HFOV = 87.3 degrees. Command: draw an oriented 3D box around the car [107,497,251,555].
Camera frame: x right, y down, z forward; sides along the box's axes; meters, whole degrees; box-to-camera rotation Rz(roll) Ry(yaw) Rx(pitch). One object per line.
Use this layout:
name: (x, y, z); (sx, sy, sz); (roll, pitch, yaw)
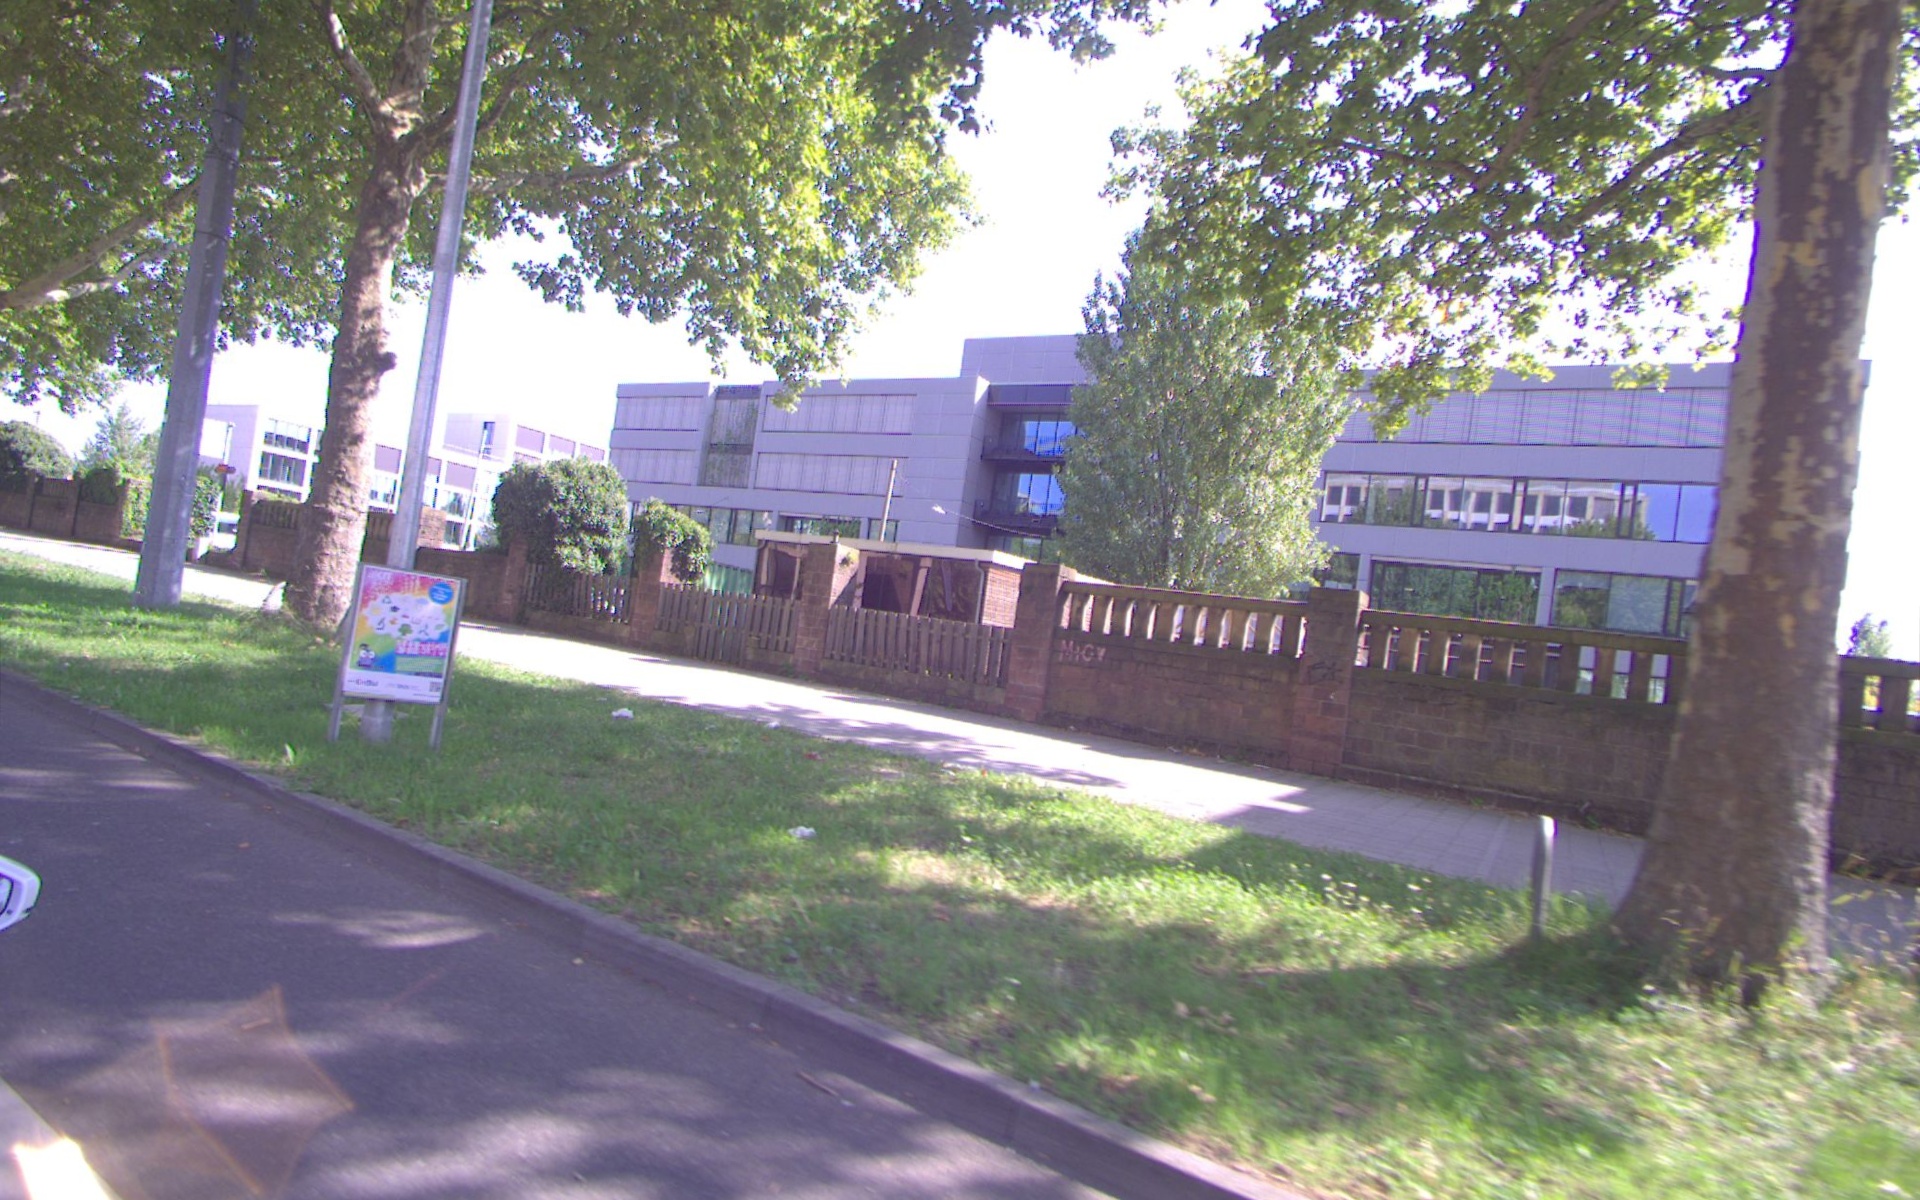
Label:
car: (-34.385, -3.228, 44.427); (1.877, 1.754, 4.531); (7, -1, 29)
